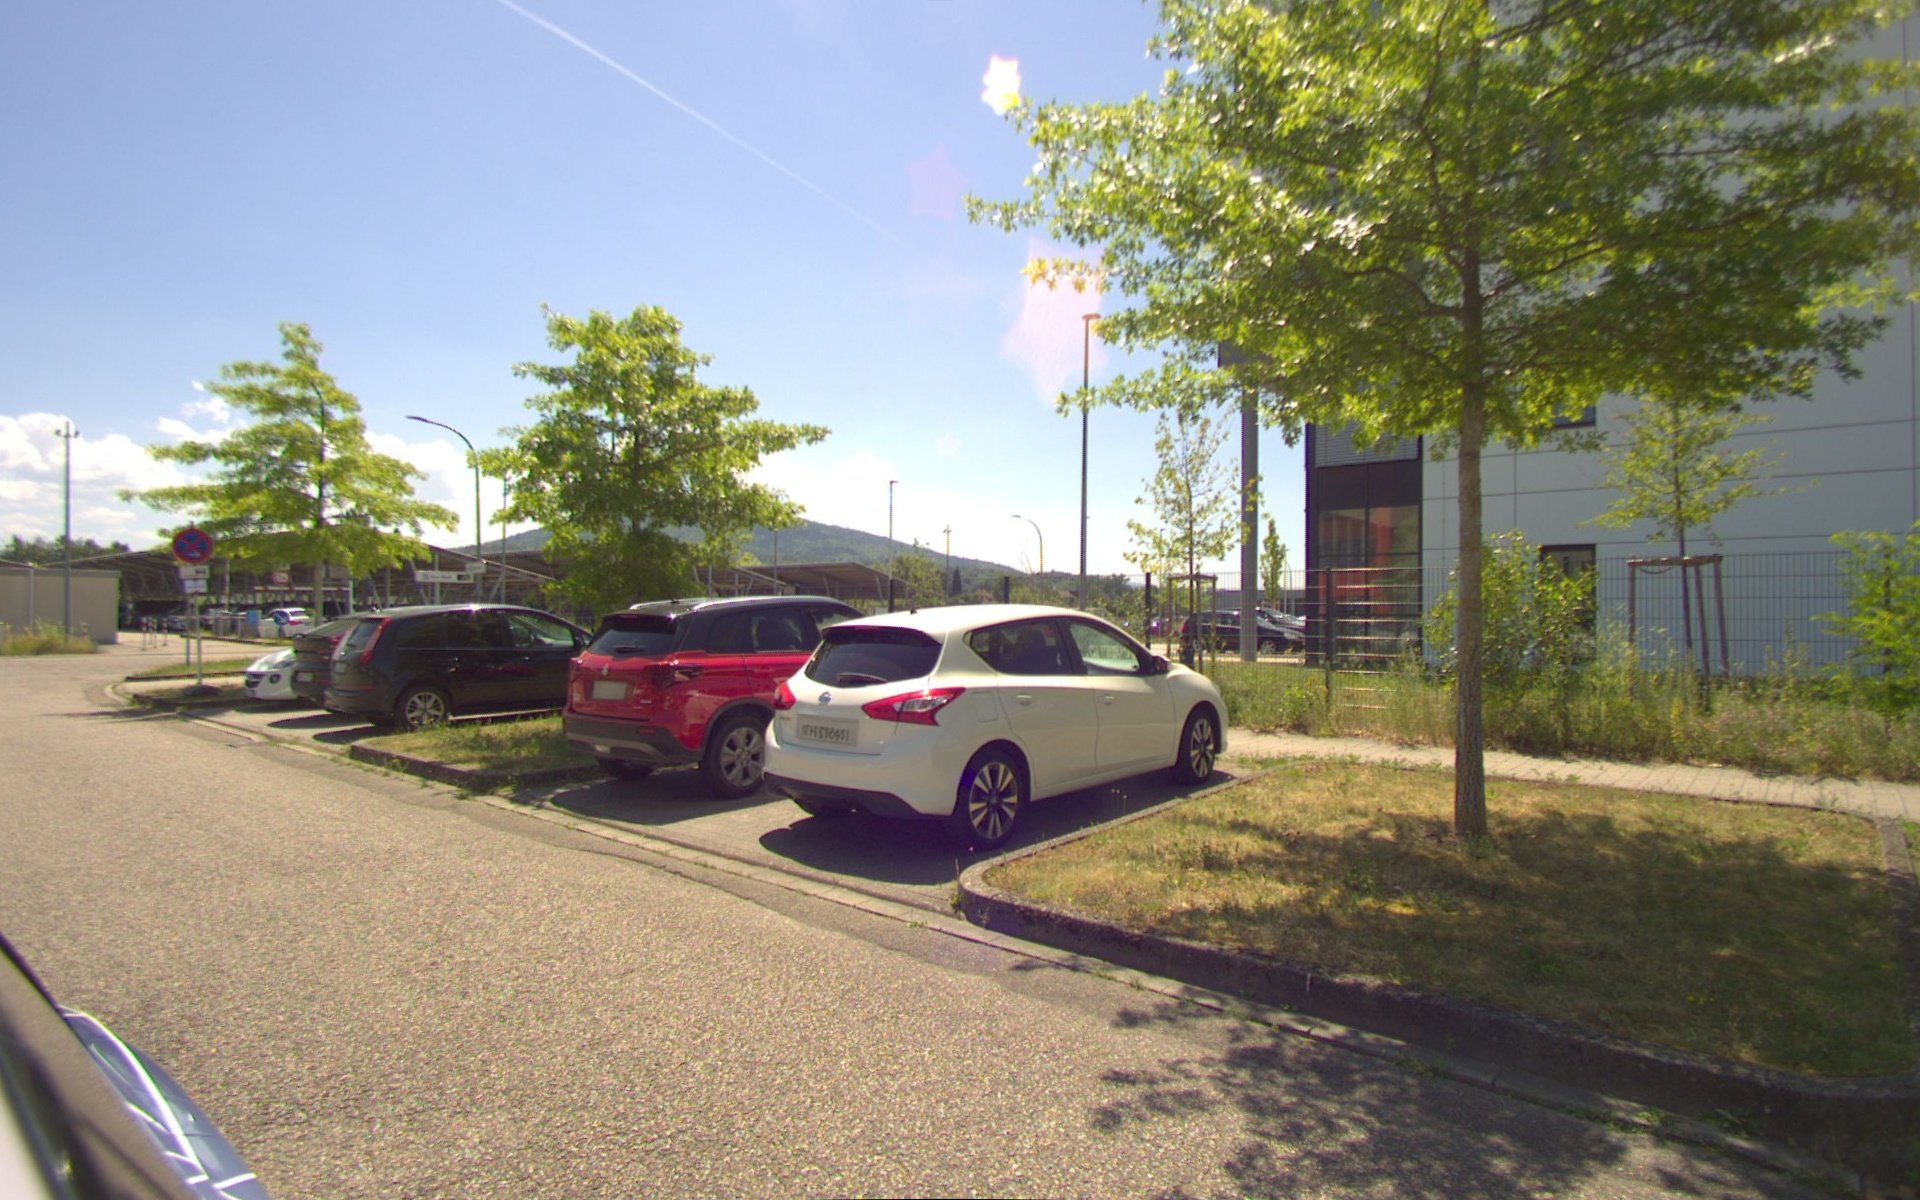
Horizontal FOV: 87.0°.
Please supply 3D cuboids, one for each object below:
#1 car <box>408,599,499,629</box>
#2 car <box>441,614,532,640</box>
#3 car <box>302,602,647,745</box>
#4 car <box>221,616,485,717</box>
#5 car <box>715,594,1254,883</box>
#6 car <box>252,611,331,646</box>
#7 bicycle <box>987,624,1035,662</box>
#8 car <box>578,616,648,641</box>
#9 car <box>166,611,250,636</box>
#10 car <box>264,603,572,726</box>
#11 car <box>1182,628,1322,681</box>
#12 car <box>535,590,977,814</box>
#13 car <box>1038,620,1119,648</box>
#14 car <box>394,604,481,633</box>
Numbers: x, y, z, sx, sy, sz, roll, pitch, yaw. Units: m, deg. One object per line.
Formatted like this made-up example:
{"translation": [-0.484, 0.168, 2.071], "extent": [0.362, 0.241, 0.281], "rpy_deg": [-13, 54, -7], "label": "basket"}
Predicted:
{"translation": [-25.535, 0.747, 51.132], "extent": [1.720, 1.447, 3.729], "rpy_deg": [-1, -2, 37], "label": "car"}
{"translation": [-23.514, 1.359, 50.362], "extent": [1.720, 1.237, 3.729], "rpy_deg": [-1, -2, 37], "label": "car"}
{"translation": [-6.454, 0.864, 13.737], "extent": [1.728, 1.604, 3.862], "rpy_deg": [-1, 0, 44], "label": "car"}
{"translation": [-10.222, 1.040, 17.207], "extent": [1.726, 1.452, 3.469], "rpy_deg": [-1, 0, 40], "label": "car"}
{"translation": [0.429, 0.774, 7.682], "extent": [1.807, 1.524, 4.127], "rpy_deg": [-3, -1, 42], "label": "car"}
{"translation": [-28.907, 1.211, 43.737], "extent": [3.769, 1.447, 1.702], "rpy_deg": [-1, -2, 37], "label": "car"}
{"translation": [1.376, 1.150, 27.234], "extent": [0.461, 0.989, 1.576], "rpy_deg": [-1, -2, 39], "label": "bicycle"}
{"translation": [-21.102, 1.716, 61.657], "extent": [1.720, 1.447, 3.729], "rpy_deg": [-1, -2, 37], "label": "car"}
{"translation": [-45.185, 1.411, 60.870], "extent": [1.720, 1.447, 3.729], "rpy_deg": [-1, -2, 37], "label": "car"}
{"translation": [-8.280, 0.892, 15.724], "extent": [1.827, 1.605, 3.802], "rpy_deg": [-1, 0, 37], "label": "car"}
{"translation": [9.399, 1.710, 32.763], "extent": [3.997, 1.614, 1.758], "rpy_deg": [-1, -2, 40], "label": "car"}
{"translation": [-1.685, 0.741, 9.384], "extent": [1.725, 1.604, 3.801], "rpy_deg": [-1, 0, 38], "label": "car"}
{"translation": [6.684, 1.925, 57.316], "extent": [4.401, 1.526, 1.677], "rpy_deg": [-1, -2, 41], "label": "car"}
{"translation": [-27.574, 0.983, 53.505], "extent": [1.720, 1.447, 3.729], "rpy_deg": [-1, -2, 37], "label": "car"}
